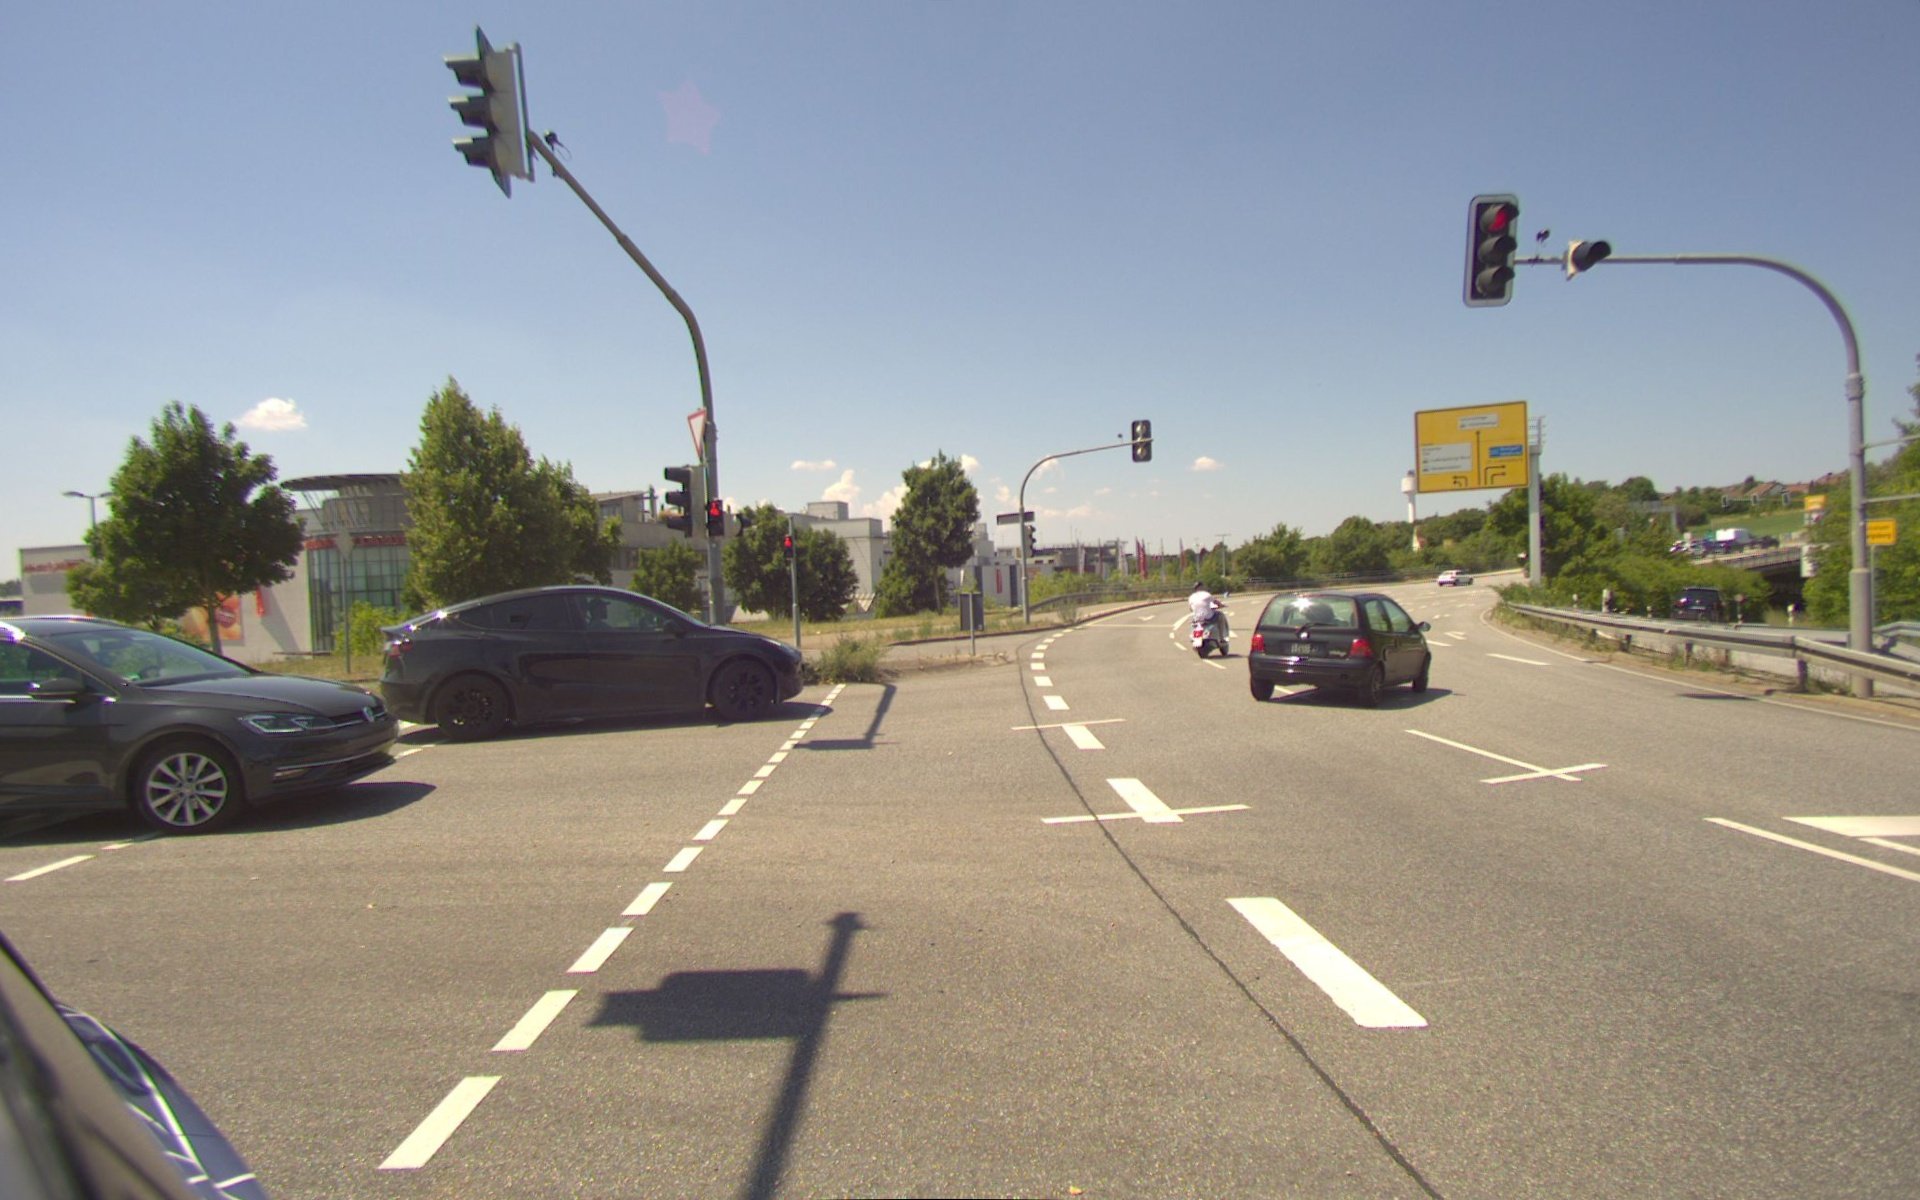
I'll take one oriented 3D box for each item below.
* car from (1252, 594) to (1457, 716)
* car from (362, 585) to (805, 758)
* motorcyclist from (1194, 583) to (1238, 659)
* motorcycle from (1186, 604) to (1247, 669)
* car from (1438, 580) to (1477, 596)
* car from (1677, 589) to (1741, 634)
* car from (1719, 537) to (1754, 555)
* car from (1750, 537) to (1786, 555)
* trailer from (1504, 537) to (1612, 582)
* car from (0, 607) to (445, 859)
[{"bbox_3d":[5.359,0.680,13.548,1.623,1.418,3.257,-2,-2,39],"label":"car"},{"bbox_3d":[-4.201,0.708,11.797,4.428,1.613,1.887,-2,1,-19],"label":"car"},{"bbox_3d":[5.328,0.422,21.079,0.612,1.551,0.837,-1,1,35],"label":"motorcyclist"},{"bbox_3d":[5.392,0.742,21.207,0.577,1.247,1.918,-1,1,35],"label":"motorcycle"},{"bbox_3d":[46.936,-1.150,95.429,3.926,1.405,1.651,0,2,-37],"label":"car"},{"bbox_3d":[30.277,0.428,40.876,1.902,1.644,4.221,4,2,38],"label":"car"},{"bbox_3d":[93.943,-6.529,122.437,3.932,2.029,2.006,-2,0,-30],"label":"car"},{"bbox_3d":[95.469,-6.410,119.586,3.932,2.029,2.006,-2,0,-30],"label":"car"},{"bbox_3d":[66.671,-4.558,112.557,15.146,4.279,3.252,-4,2,-30],"label":"trailer"},{"bbox_3d":[-6.299,0.857,7.179,4.361,1.493,1.786,-1,1,-5],"label":"car"}]
